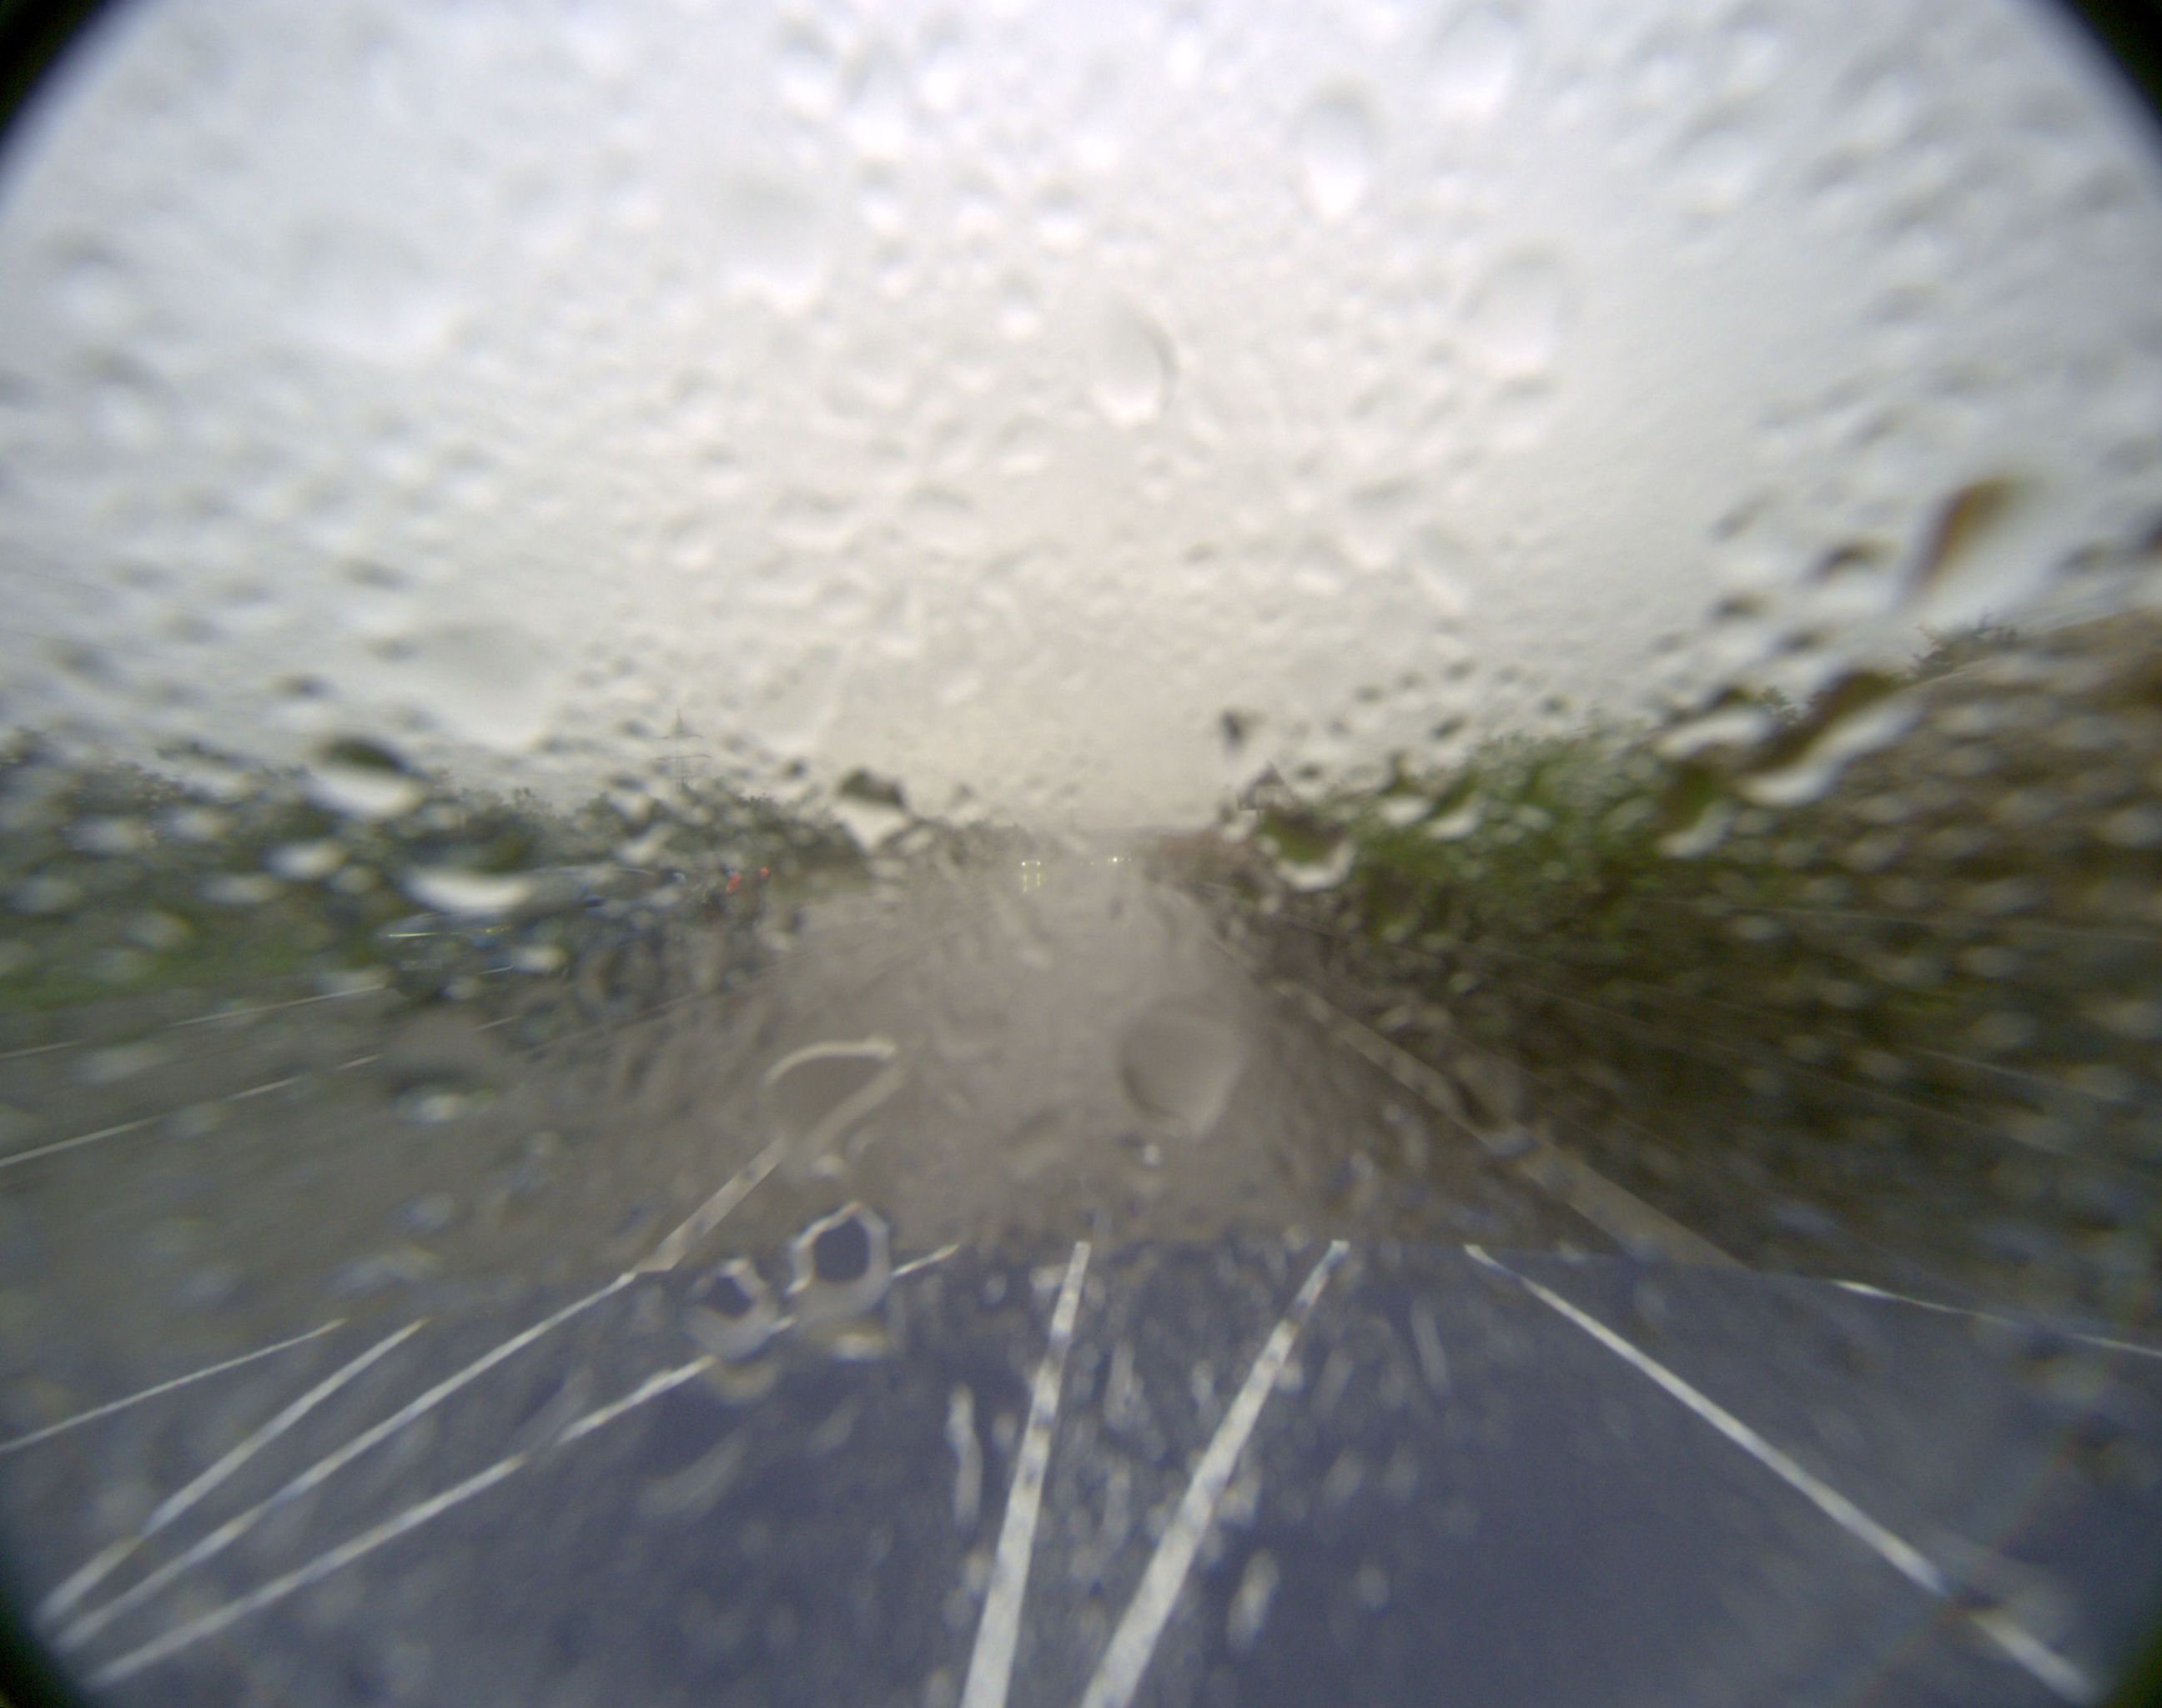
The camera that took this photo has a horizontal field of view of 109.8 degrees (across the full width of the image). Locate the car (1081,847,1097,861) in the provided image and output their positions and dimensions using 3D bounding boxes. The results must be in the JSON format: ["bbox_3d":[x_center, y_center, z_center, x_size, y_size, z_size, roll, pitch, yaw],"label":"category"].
[{"bbox_3d":[1.267,-0.029,113.578,1.998,2.002,4.001,-2,0,5],"label":"car"}]

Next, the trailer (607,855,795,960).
[{"bbox_3d":[-7.429,0.963,15.235,1.983,1.774,3.189,-2,1,2],"label":"trailer"}]

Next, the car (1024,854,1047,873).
[{"bbox_3d":[-4.993,1.044,84.287,1.998,2.001,4.001,-3,0,3],"label":"car"}]

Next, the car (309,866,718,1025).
[{"bbox_3d":[-7.603,1.077,11.074,1.998,1.610,4.992,-2,1,2],"label":"car"}]

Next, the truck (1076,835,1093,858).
[{"bbox_3d":[0.804,-1.618,167.032,3.135,4.641,11.405,-2,0,2],"label":"truck"}]

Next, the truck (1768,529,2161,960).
[{"bbox_3d":[14.780,-1.360,4.963,4.716,5.014,18.232,-2,0,3],"label":"truck"}]
